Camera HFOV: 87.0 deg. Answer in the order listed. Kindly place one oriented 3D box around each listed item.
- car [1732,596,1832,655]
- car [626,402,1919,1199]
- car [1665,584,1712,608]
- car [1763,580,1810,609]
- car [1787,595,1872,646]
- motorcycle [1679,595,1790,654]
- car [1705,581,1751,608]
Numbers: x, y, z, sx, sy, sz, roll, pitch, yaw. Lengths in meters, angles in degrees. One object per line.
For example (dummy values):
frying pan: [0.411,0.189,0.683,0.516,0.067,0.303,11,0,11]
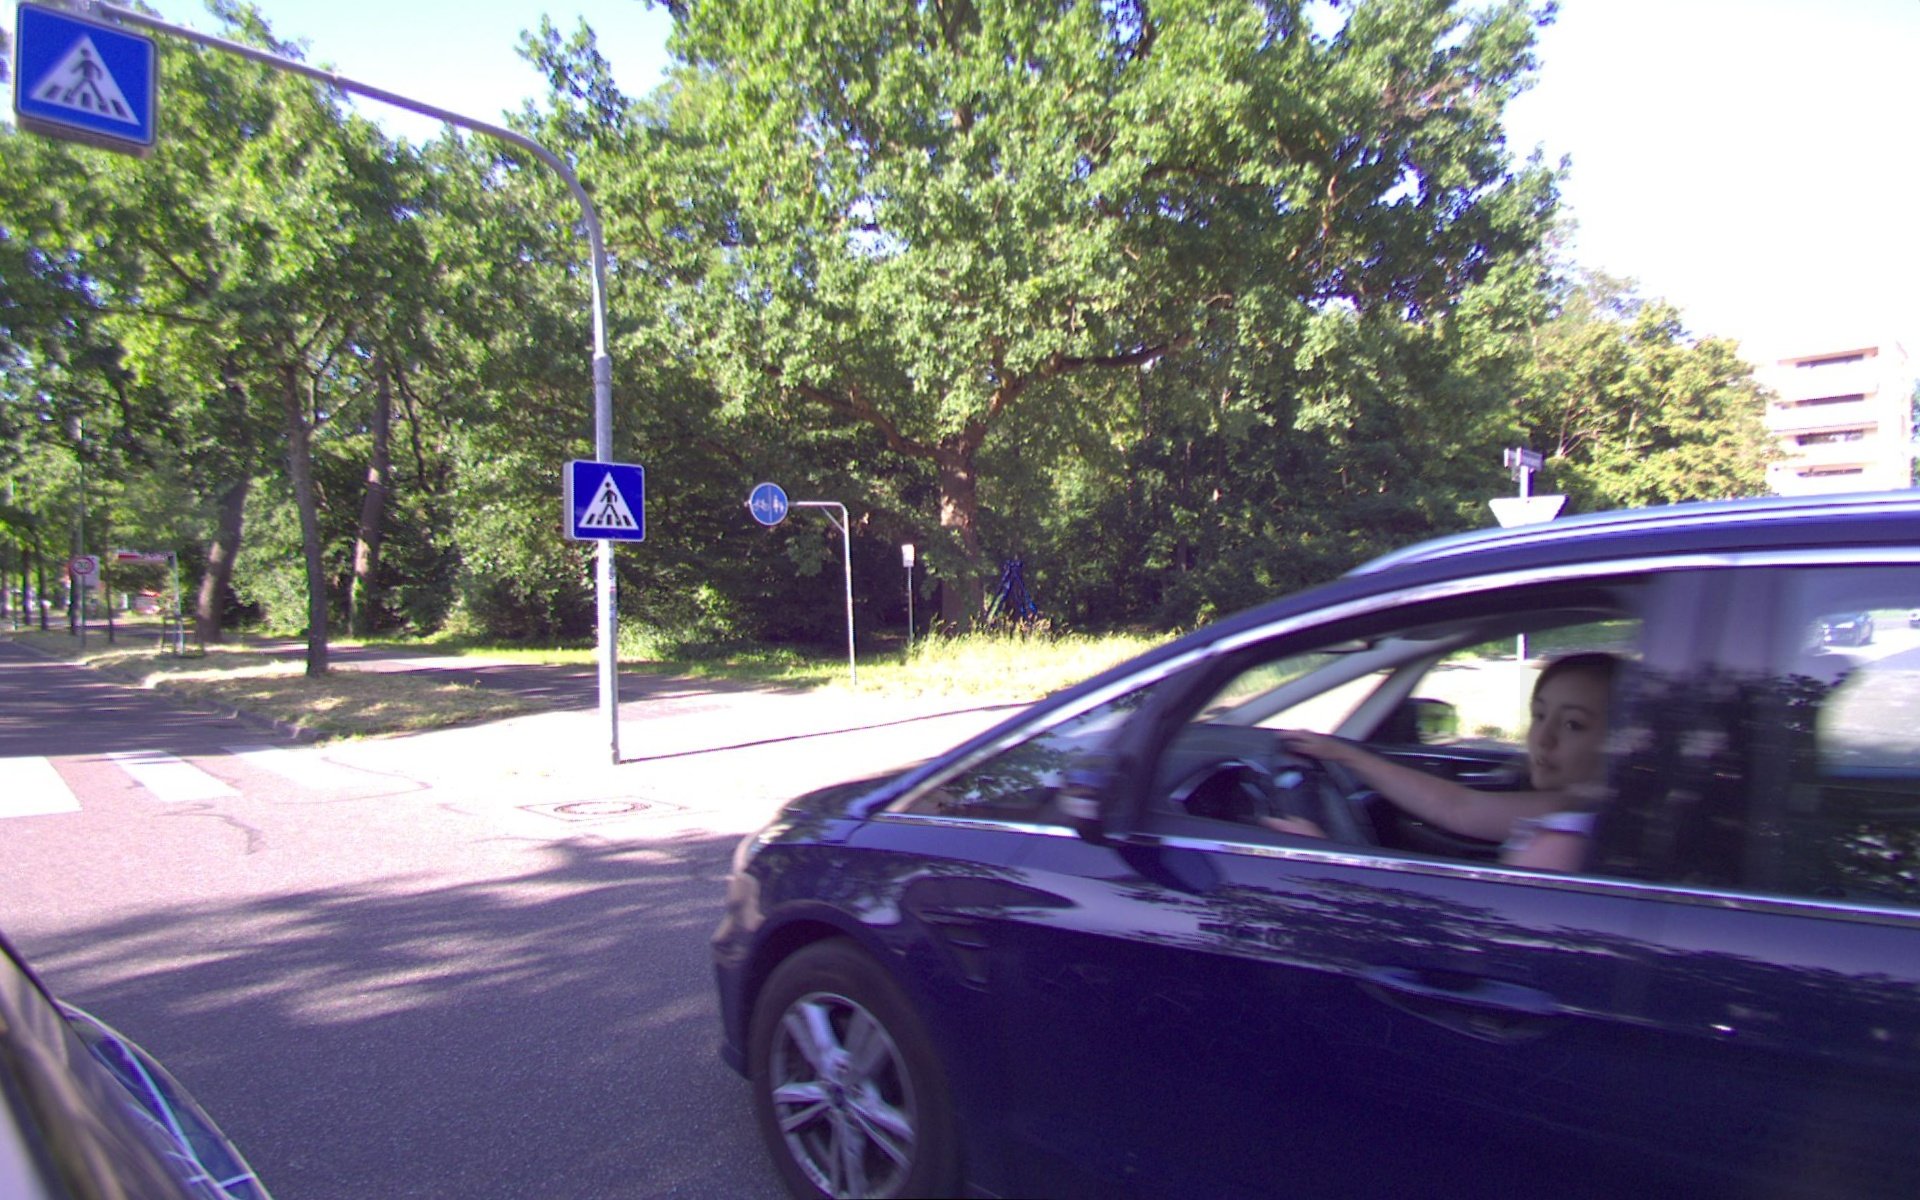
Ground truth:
car: [21.734,0.635,26.731,3.534,1.402,1.561,-1,0,-43]
car: [1.362,0.634,1.956,4.491,1.637,1.802,-1,-2,42]
car: [48.643,-0.303,67.574,3.778,1.538,1.802,-1,0,-43]
car: [51.899,-0.332,63.538,3.778,1.757,1.765,-1,0,-43]
car: [26.356,0.583,30.643,3.534,1.402,1.561,-1,0,-43]
motorcycle: [18.323,0.584,23.978,1.944,1.354,0.672,-1,0,17]
car: [50.146,-0.371,66.033,3.778,1.757,1.765,-1,0,-43]
